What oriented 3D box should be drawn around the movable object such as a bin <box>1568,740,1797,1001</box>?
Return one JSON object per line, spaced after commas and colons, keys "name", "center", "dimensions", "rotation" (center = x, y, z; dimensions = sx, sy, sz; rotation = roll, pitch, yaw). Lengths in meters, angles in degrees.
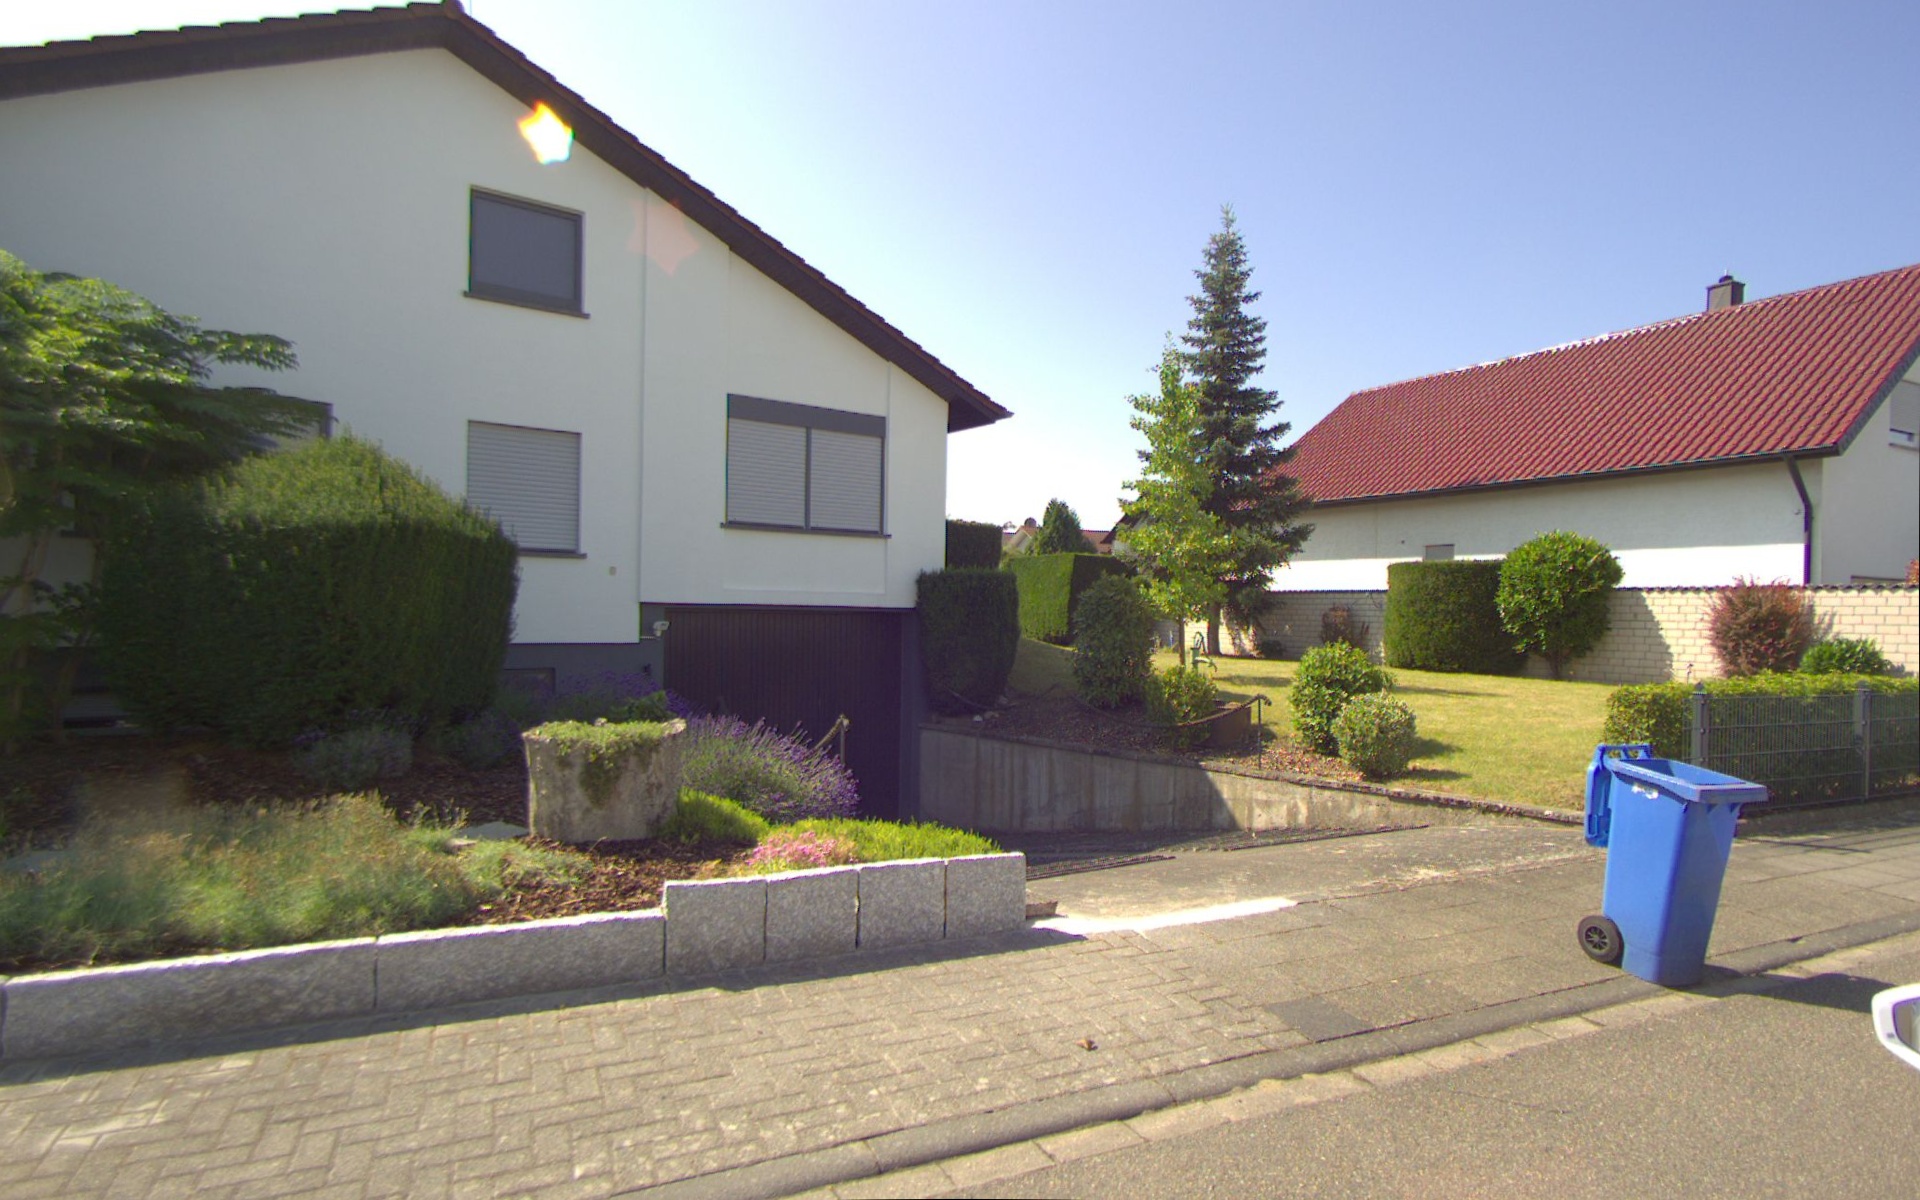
{"name": "movable object such as a bin", "center": [3.118, 1.121, 4.357], "dimensions": [0.590, 0.928, 0.581], "rotation": [1, 0, -26]}
